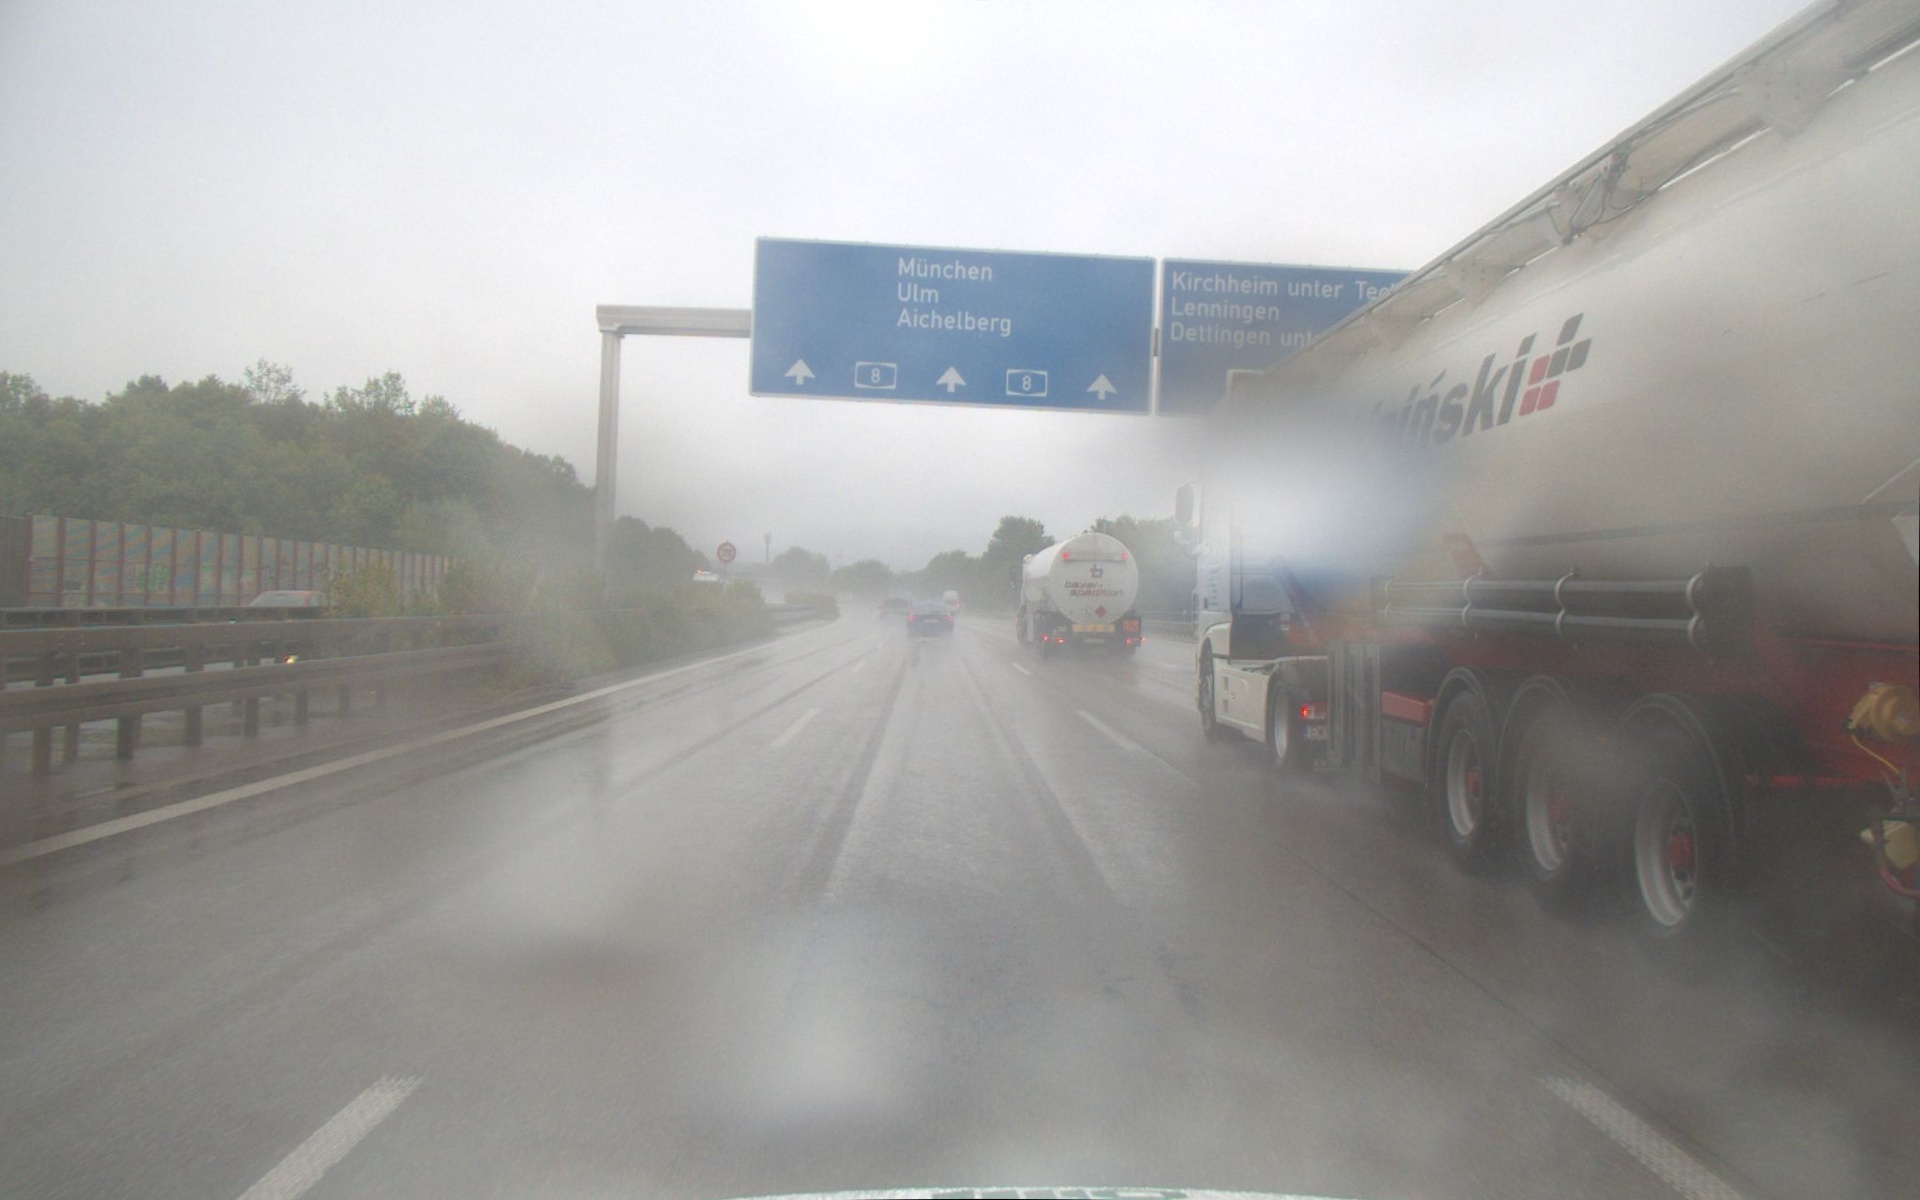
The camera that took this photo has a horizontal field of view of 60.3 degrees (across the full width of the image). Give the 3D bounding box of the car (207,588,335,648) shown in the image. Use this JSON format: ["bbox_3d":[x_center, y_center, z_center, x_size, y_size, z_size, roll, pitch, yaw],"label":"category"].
[{"bbox_3d":[-17.316,0.440,41.747,1.712,1.407,3.740,1,0,-1],"label":"car"}]

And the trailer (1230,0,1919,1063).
[{"bbox_3d":[4.254,-0.548,9.971,3.123,3.734,11.664,1,0,-1],"label":"trailer"}]

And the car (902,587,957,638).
[{"bbox_3d":[-1.170,0.431,62.136,1.939,1.787,4.479,1,1,-2],"label":"car"}]

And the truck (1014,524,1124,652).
[{"bbox_3d":[3.340,-0.355,52.370,2.884,3.749,6.360,1,0,-1],"label":"truck"}]

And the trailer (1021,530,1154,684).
[{"bbox_3d":[3.440,0.175,46.954,2.943,3.915,8.622,1,0,-1],"label":"trailer"}]

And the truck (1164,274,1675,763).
[{"bbox_3d":[4.143,-0.652,16.888,3.041,3.873,7.210,1,0,-1],"label":"truck"}]
